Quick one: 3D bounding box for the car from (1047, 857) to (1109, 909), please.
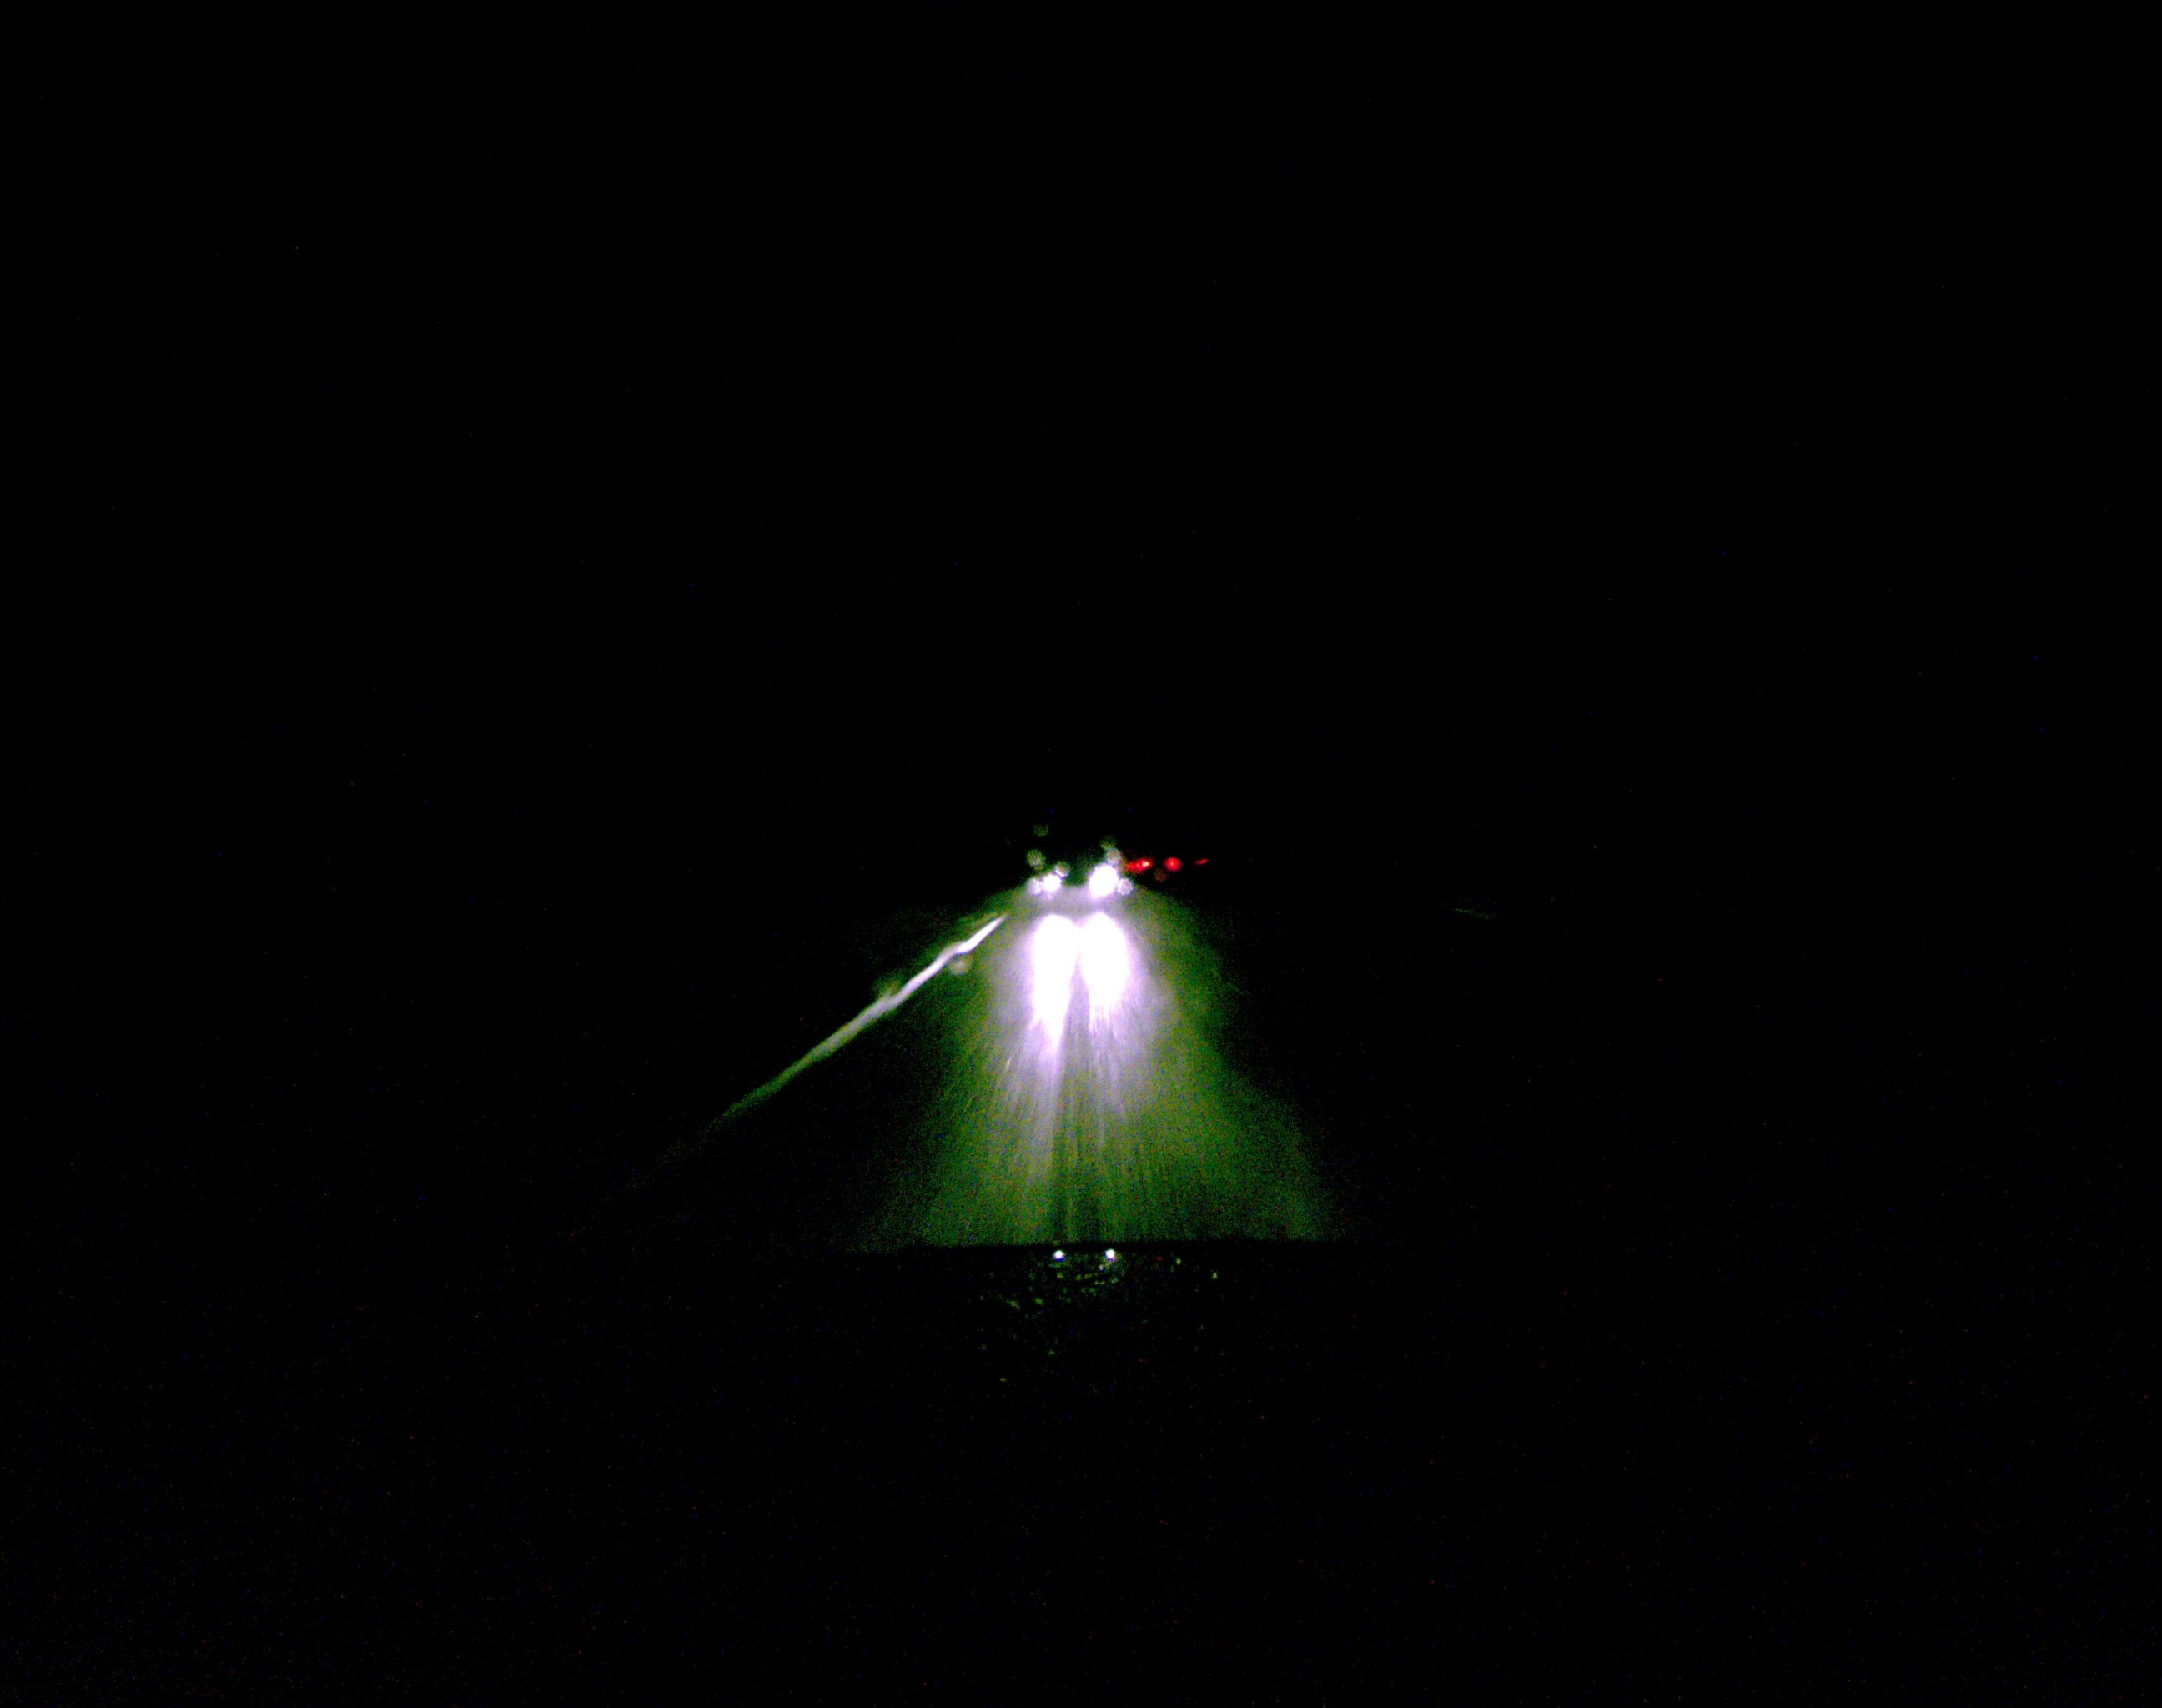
[{"bbox_3d":[-0.031,0.882,24.564,1.744,1.501,3.601,-2,0,3],"label":"car"}]

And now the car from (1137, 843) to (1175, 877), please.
[{"bbox_3d":[4.220,0.388,43.362,1.841,1.833,4.001,0,-1,1],"label":"car"}]

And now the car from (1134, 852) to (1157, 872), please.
[{"bbox_3d":[5.415,0.655,64.200,1.848,1.496,3.710,-1,1,4],"label":"car"}]
